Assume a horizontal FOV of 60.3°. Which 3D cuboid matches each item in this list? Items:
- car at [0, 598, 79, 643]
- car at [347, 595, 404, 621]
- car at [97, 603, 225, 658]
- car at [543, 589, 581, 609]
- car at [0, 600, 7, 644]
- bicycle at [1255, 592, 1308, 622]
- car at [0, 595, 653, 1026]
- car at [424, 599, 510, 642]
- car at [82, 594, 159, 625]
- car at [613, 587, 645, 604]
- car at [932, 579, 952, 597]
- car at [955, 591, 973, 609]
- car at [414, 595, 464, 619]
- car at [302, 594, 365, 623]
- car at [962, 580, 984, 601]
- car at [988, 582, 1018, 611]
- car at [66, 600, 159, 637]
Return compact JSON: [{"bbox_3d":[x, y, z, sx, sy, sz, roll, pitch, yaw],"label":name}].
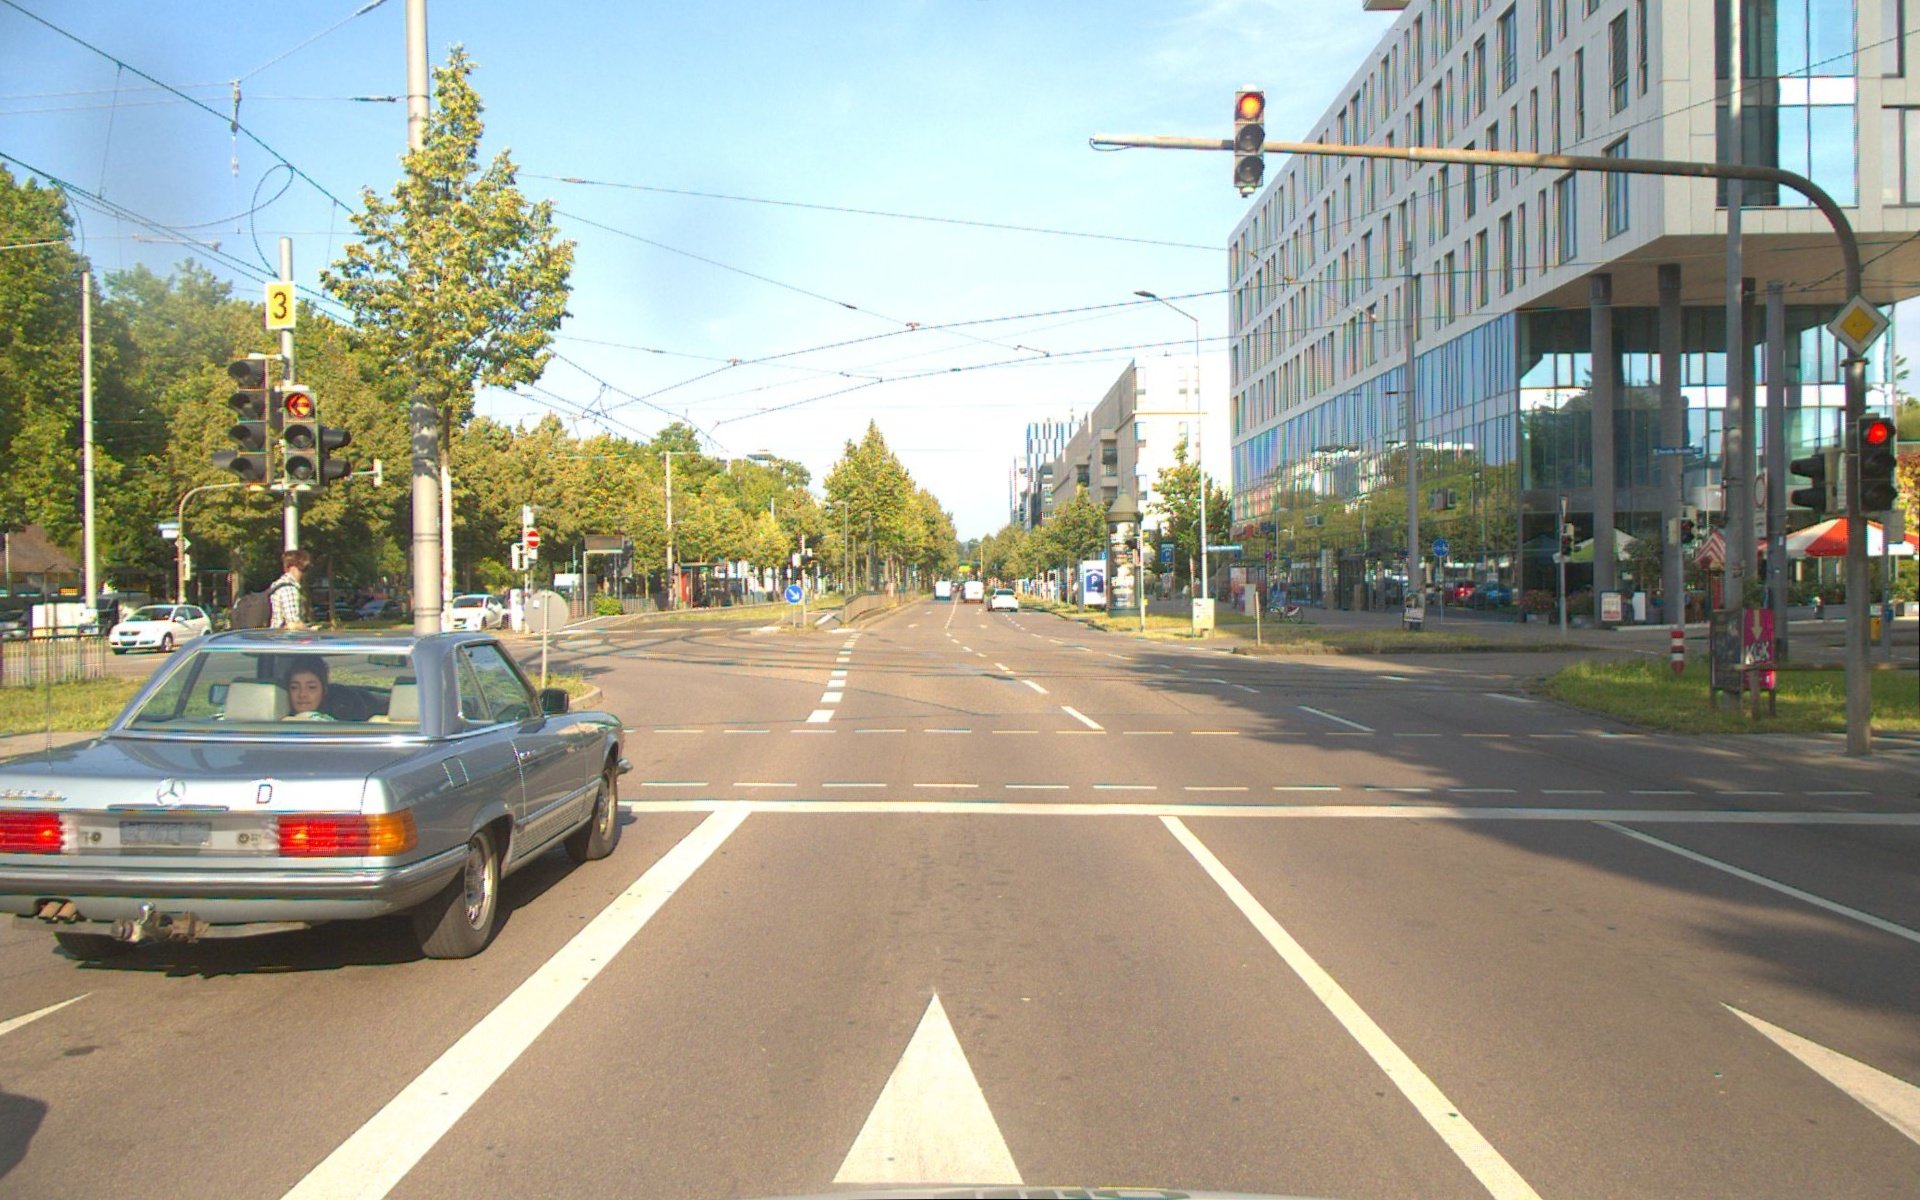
[{"bbox_3d":[-38.887,0.829,68.989,1.841,1.780,4.003,-1,0,5],"label":"car"},{"bbox_3d":[-36.363,0.475,103.009,1.841,1.586,4.003,-1,0,5],"label":"car"},{"bbox_3d":[-24.823,0.914,51.557,1.838,1.554,4.224,-1,1,1],"label":"car"},{"bbox_3d":[-33.174,-0.109,137.944,1.841,1.586,4.003,-1,0,5],"label":"car"},{"bbox_3d":[-39.246,0.904,64.230,1.841,1.780,4.003,-1,0,5],"label":"car"},{"bbox_3d":[12.043,0.245,61.925,0.767,1.050,1.849,-1,3,-43],"label":"bicycle"},{"bbox_3d":[-2.690,0.700,7.719,1.728,1.353,4.399,1,1,-1],"label":"car"},{"bbox_3d":[-18.597,0.736,62.587,1.952,1.530,4.093,-1,0,1],"label":"car"},{"bbox_3d":[-45.511,0.503,89.790,1.841,1.586,4.003,-1,0,5],"label":"car"},{"bbox_3d":[-31.689,-0.459,158.367,1.841,1.586,4.003,-1,0,5],"label":"car"},{"bbox_3d":[-1.804,-1.230,167.474,1.973,1.713,4.001,1,1,1],"label":"car"},{"bbox_3d":[0.434,-0.024,172.876,1.884,1.713,4.001,1,1,1],"label":"car"},{"bbox_3d":[-35.396,0.460,112.462,1.841,1.586,4.003,-1,0,5],"label":"car"},{"bbox_3d":[-36.865,0.476,97.437,1.841,1.586,4.003,-1,0,5],"label":"car"},{"bbox_3d":[1.137,-0.859,143.667,1.826,1.713,4.001,1,1,1],"label":"car"},{"bbox_3d":[2.675,-0.245,104.320,1.826,1.713,4.001,1,1,1],"label":"car"},{"bbox_3d":[-38.400,0.831,75.044,1.841,1.586,4.003,-1,0,5],"label":"car"}]
